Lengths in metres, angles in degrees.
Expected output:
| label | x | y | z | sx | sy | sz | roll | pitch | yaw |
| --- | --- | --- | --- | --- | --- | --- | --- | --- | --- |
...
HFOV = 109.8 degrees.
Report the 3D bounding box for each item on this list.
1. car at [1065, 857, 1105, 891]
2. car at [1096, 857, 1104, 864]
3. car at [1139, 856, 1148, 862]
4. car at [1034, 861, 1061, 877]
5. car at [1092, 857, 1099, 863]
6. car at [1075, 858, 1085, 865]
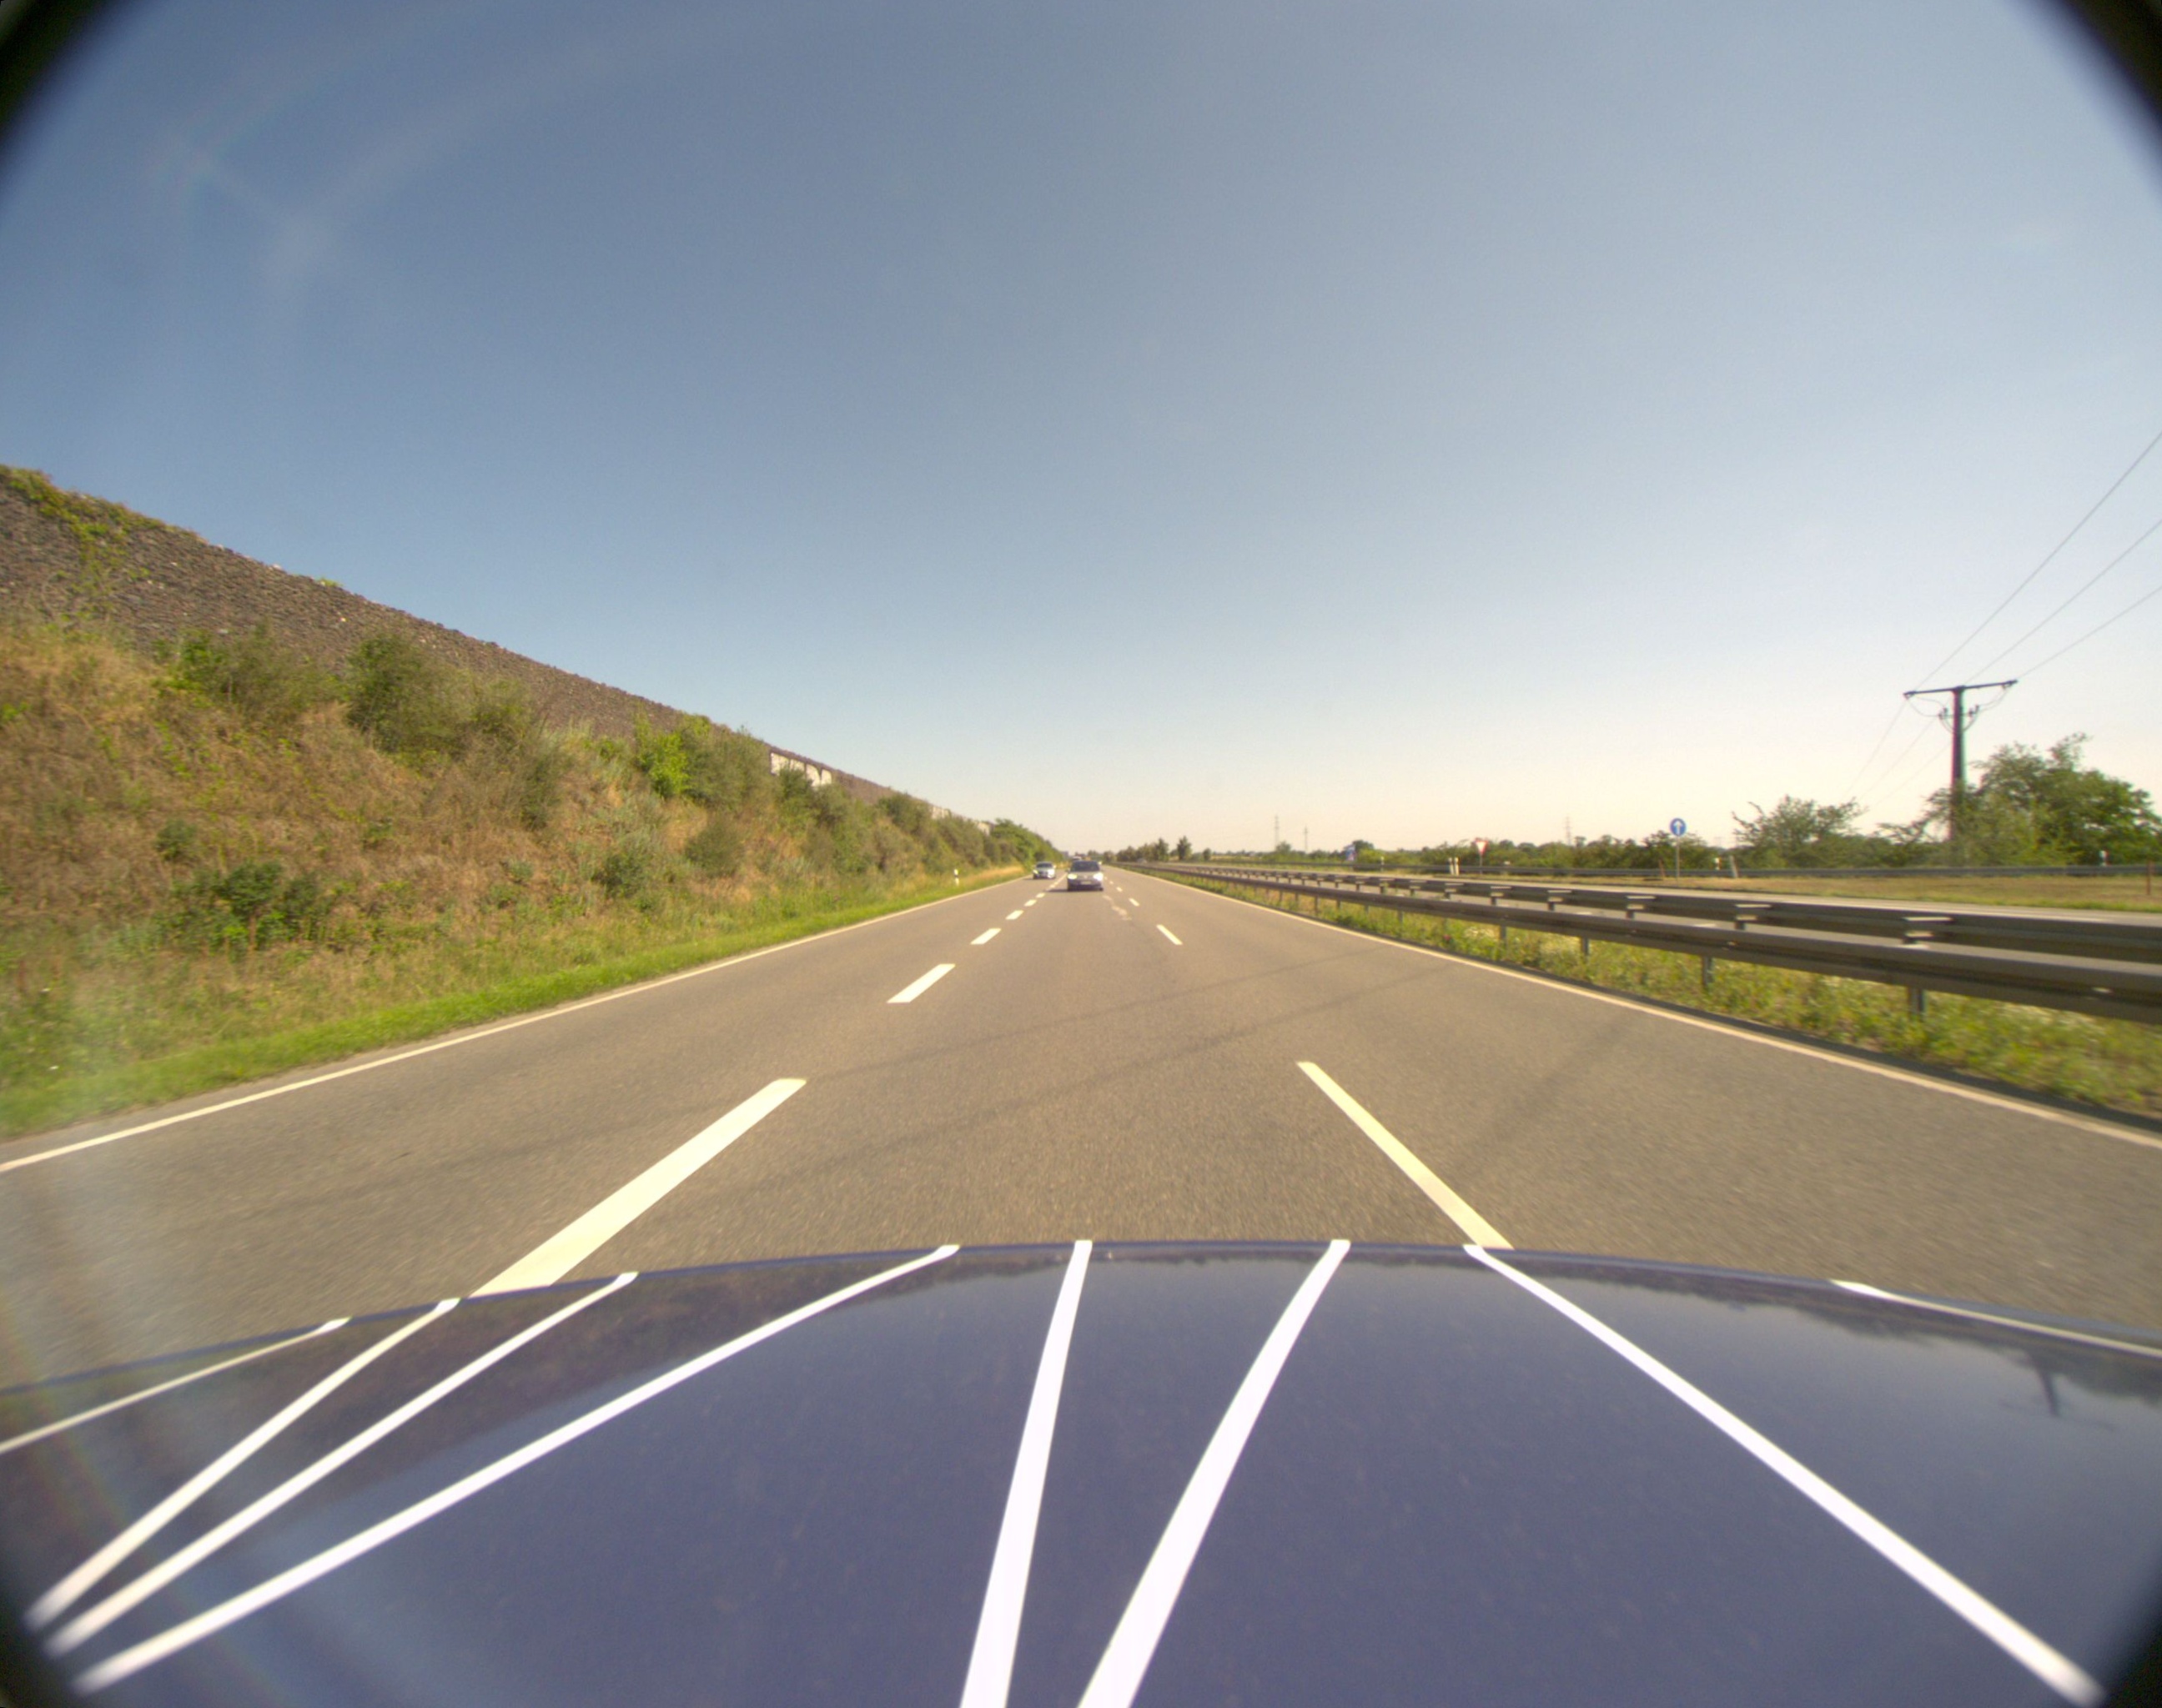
| label | x | y | z | sx | sy | sz | roll | pitch | yaw |
| --- | --- | --- | --- | --- | --- | --- | --- | --- | --- |
| car | 0.238 | 0.980 | 38.696 | 1.854 | 1.634 | 4.001 | 0 | 0 | 3 |
| car | 4.638 | 1.647 | 183.520 | 1.790 | 1.659 | 3.999 | -2 | 0 | -1 |
| car | 15.200 | 1.215 | 186.283 | 1.704 | 1.476 | 4.620 | -4 | 0 | 0 |
| car | -2.852 | 1.263 | 65.510 | 1.854 | 1.212 | 4.001 | -2 | 0 | 3 |
| car | 4.549 | 1.877 | 238.606 | 1.854 | 1.602 | 4.001 | -2 | 0 | 3 |
| car | -0.206 | 1.479 | 154.306 | 1.790 | 1.212 | 3.999 | -2 | 0 | -1 |
